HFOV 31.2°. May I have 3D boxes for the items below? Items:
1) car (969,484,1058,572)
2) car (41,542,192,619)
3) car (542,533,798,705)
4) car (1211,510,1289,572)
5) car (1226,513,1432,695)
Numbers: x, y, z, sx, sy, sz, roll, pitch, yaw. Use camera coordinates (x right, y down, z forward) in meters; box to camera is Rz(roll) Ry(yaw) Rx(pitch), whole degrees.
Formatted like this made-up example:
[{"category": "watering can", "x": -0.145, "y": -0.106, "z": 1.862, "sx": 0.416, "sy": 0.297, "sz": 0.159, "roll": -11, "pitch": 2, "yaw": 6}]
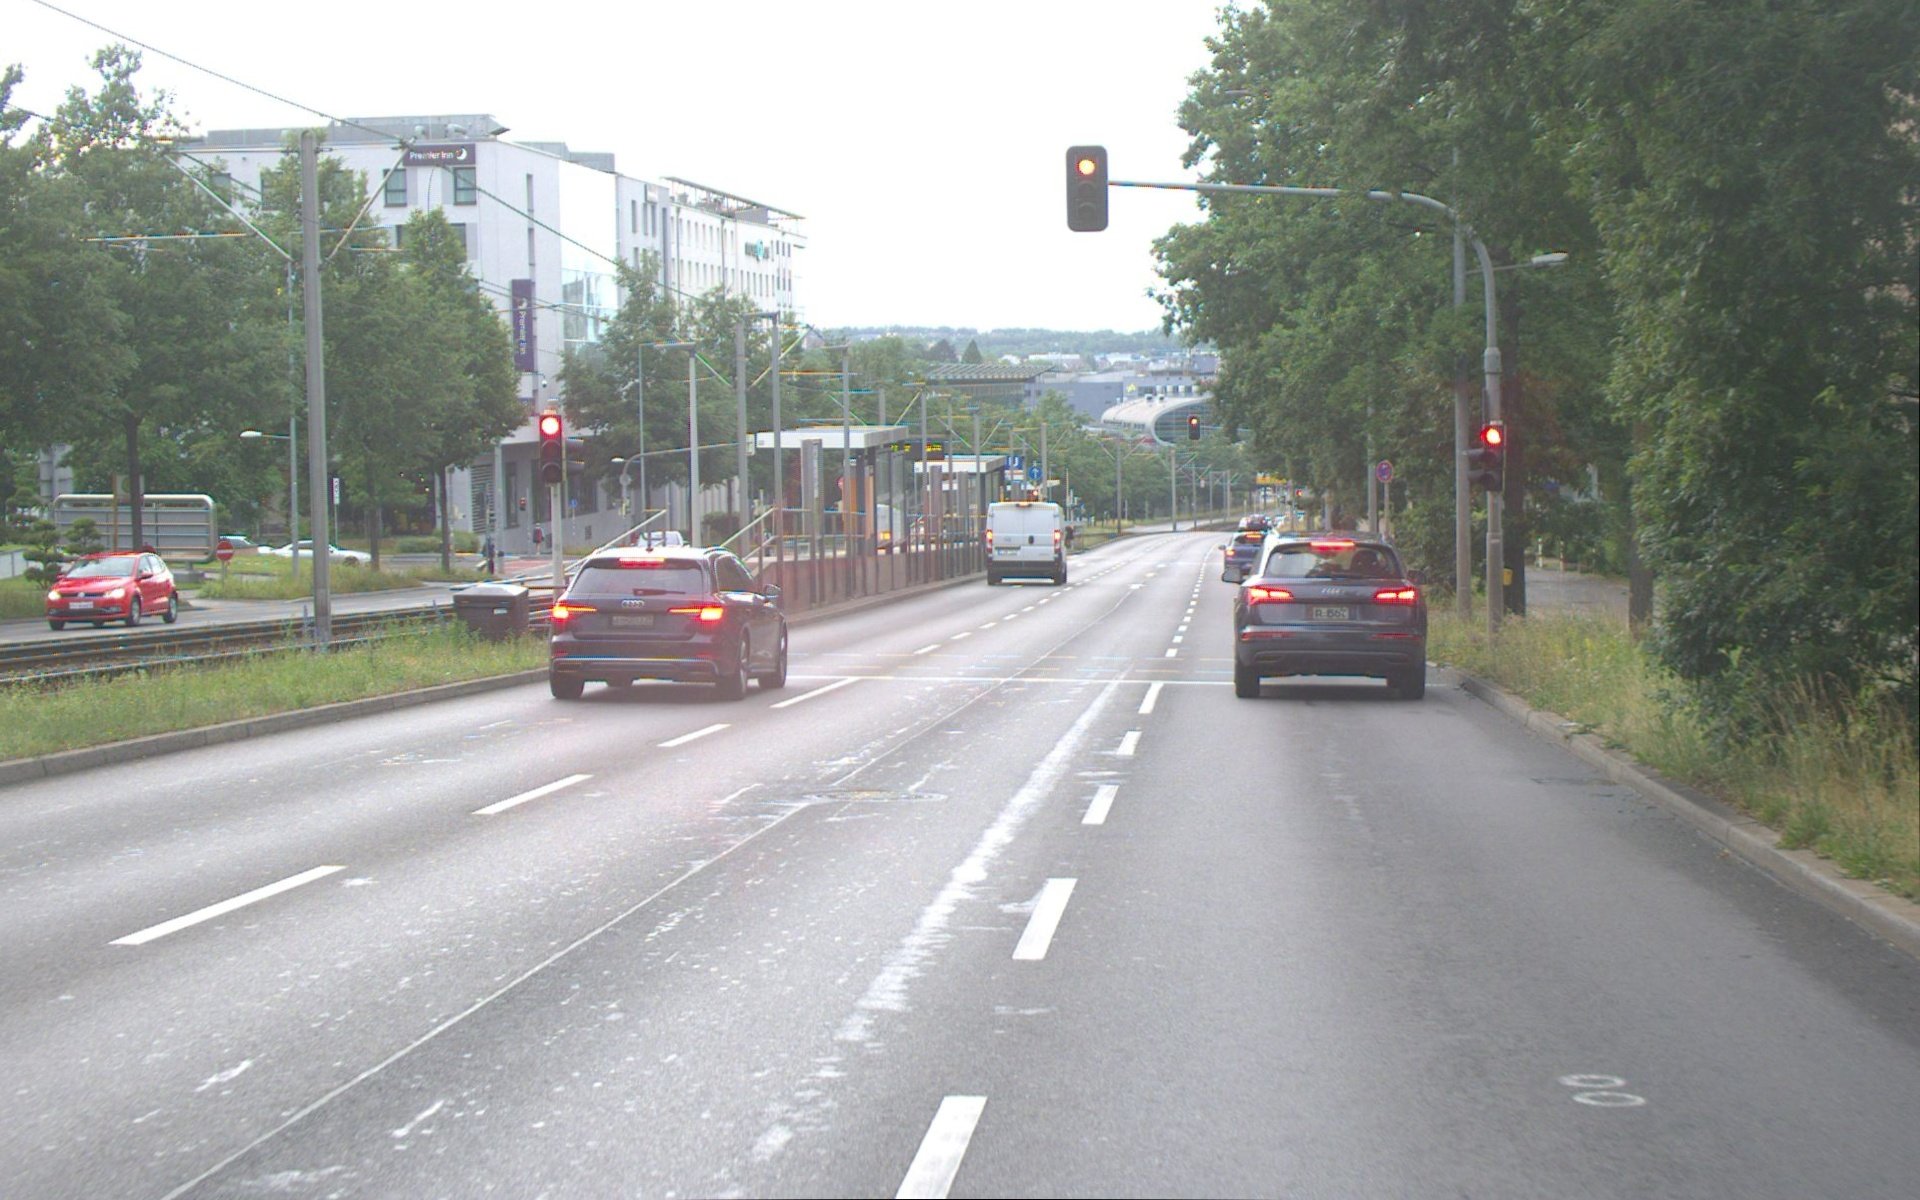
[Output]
[{"category": "car", "x": 1.432, "y": -2.011, "z": 94.164, "sx": 2.268, "sy": 2.277, "sz": 4.760, "roll": 1, "pitch": 2, "yaw": -1}, {"category": "car", "x": -16.323, "y": -0.393, "z": 66.721, "sx": 1.663, "sy": 1.437, "sz": 3.896, "roll": 1, "pitch": 1, "yaw": 5}, {"category": "car", "x": -2.714, "y": 0.122, "z": 33.192, "sx": 1.786, "sy": 1.409, "sz": 4.806, "roll": 1, "pitch": 3, "yaw": 3}, {"category": "car", "x": 8.750, "y": -1.795, "z": 103.487, "sx": 2.049, "sy": 1.736, "sz": 4.573, "roll": 1, "pitch": 3, "yaw": 8}, {"category": "car", "x": 3.670, "y": 0.021, "z": 34.783, "sx": 1.923, "sy": 1.705, "sz": 4.097, "roll": 1, "pitch": 1, "yaw": 4}]
